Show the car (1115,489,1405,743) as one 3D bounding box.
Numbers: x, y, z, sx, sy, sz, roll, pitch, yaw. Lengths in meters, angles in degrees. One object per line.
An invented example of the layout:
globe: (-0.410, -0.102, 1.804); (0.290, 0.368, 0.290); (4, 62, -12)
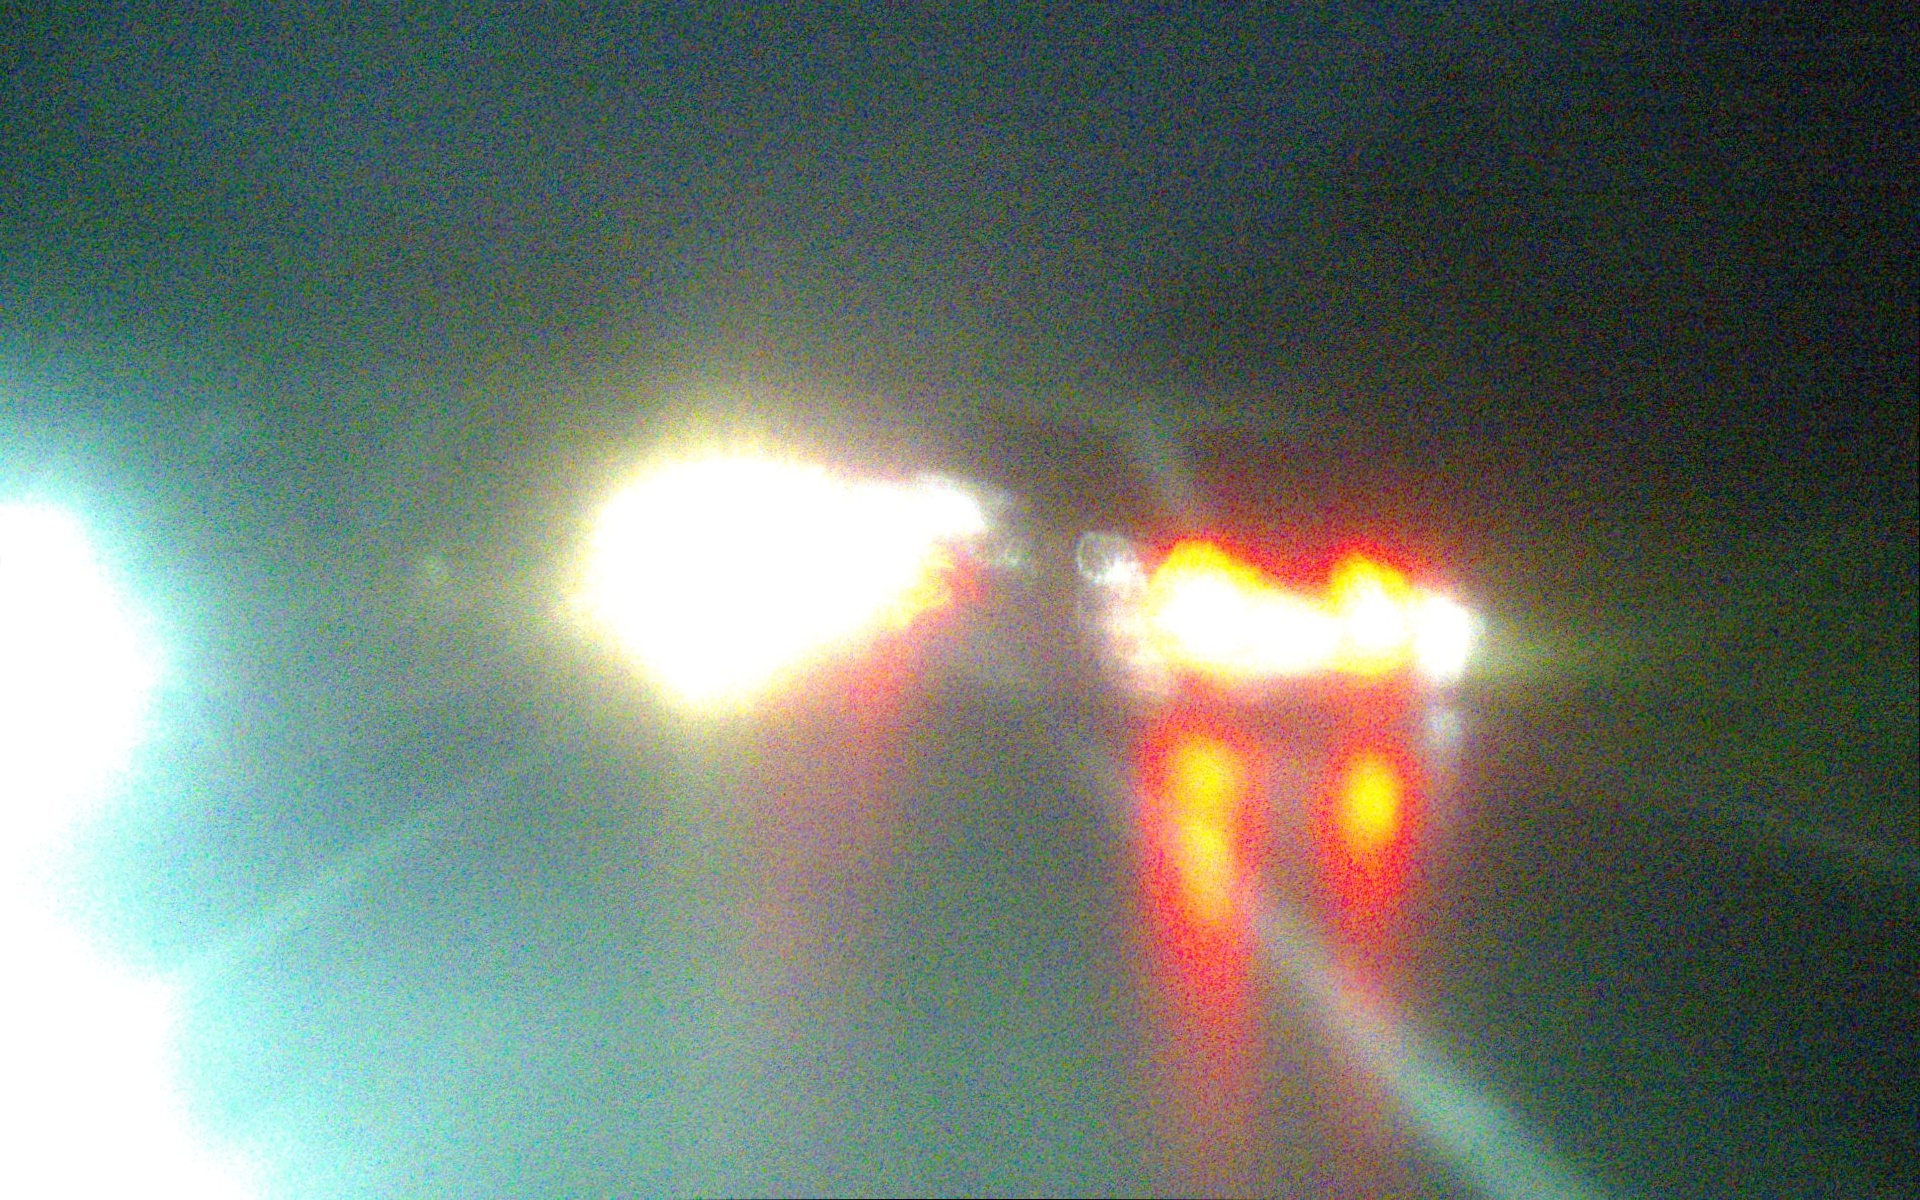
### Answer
car: (2.466, 0.090, 29.254); (2.093, 2.007, 4.000); (0, 1, 0)

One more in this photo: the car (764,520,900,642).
car: (-1.784, -0.297, 47.804); (1.808, 1.616, 4.001); (0, 1, -2)

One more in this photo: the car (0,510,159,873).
car: (-5.236, 0.379, 16.834); (1.808, 1.616, 4.001); (0, 1, -2)
